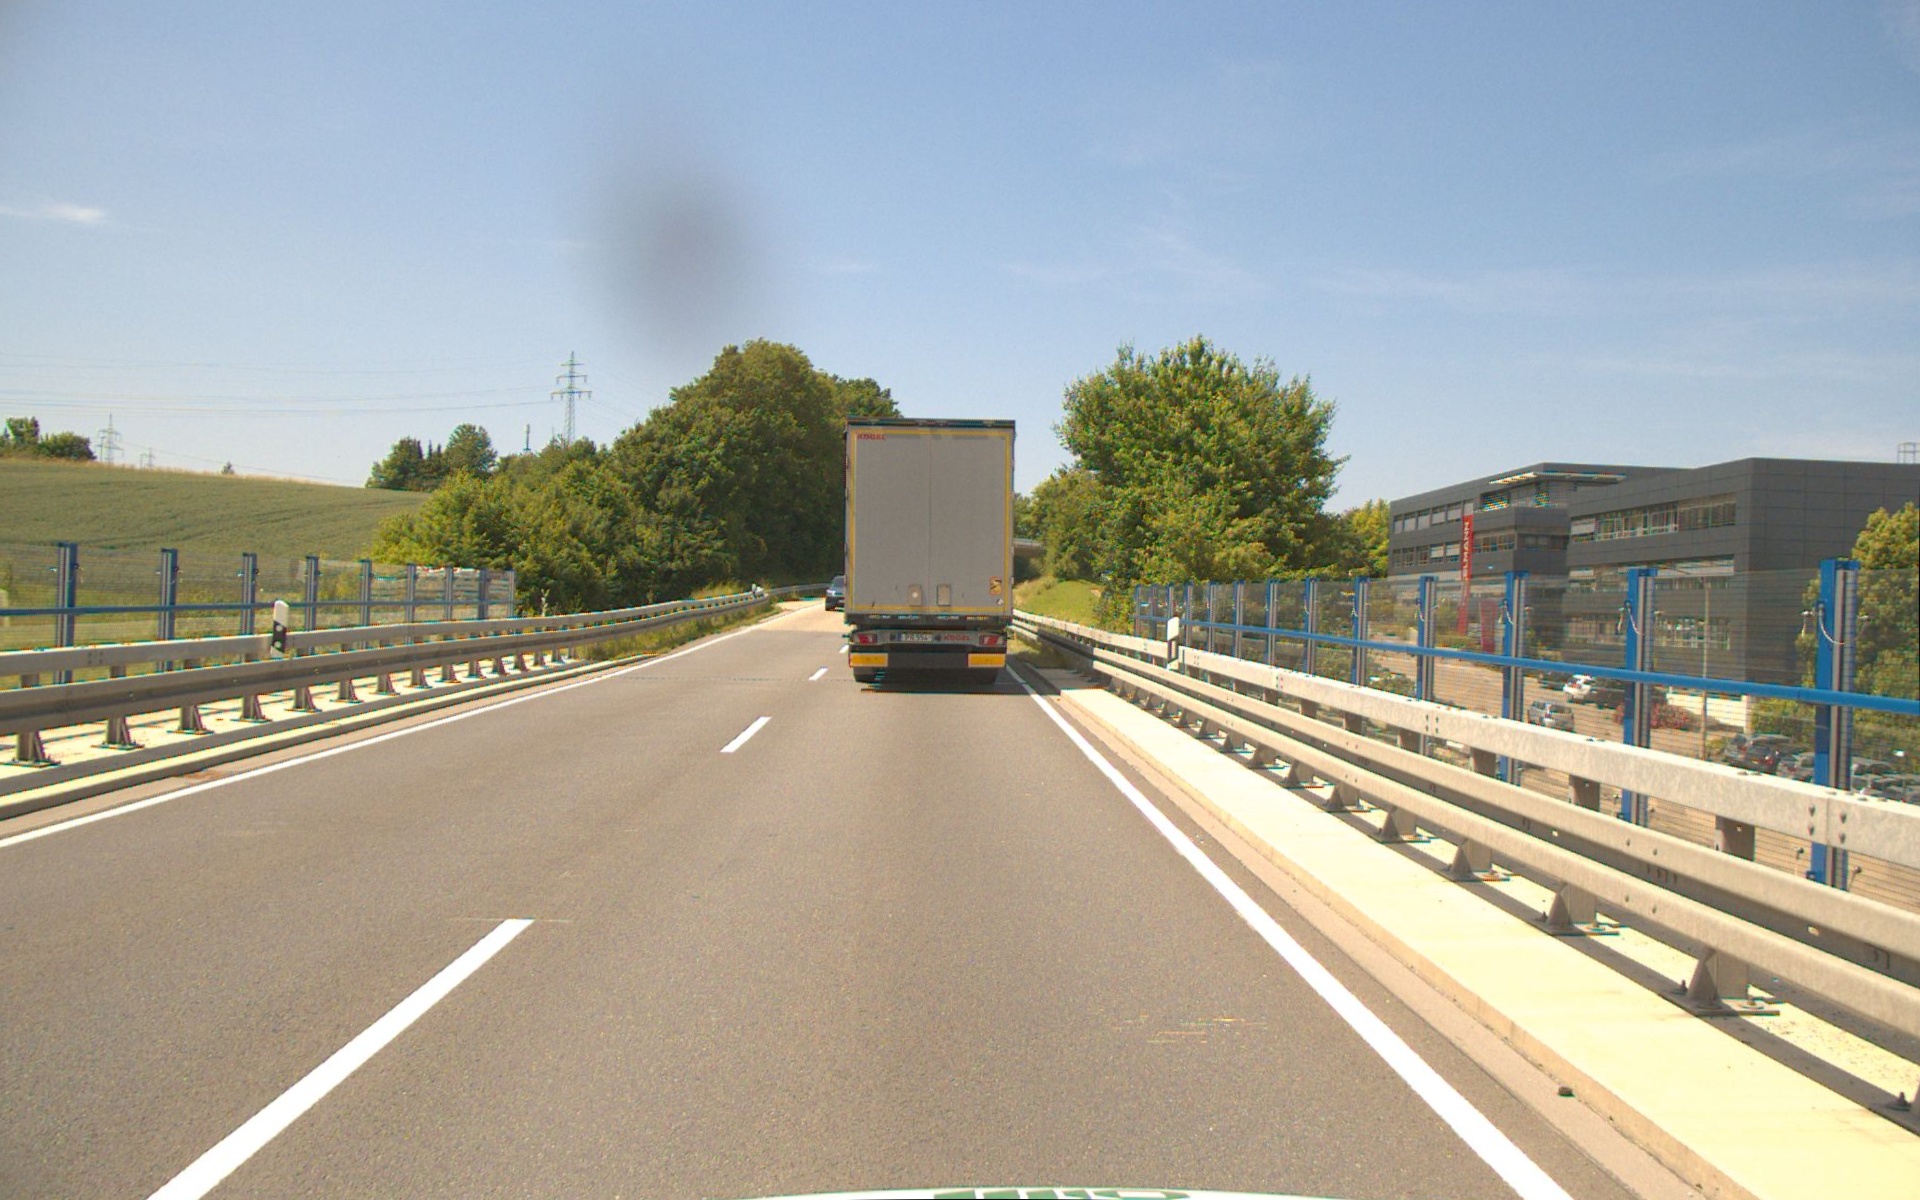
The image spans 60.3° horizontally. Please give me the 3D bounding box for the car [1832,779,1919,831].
[{"bbox_3d":[35.637,7.785,62.842,3.956,1.599,1.912,1,3,-2],"label":"car"}]

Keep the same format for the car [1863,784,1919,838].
[{"bbox_3d":[35.668,7.767,60.697,3.956,1.599,1.912,1,3,-2],"label":"car"}]

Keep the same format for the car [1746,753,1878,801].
[{"bbox_3d":[35.209,7.297,68.390,4.479,1.599,1.821,1,3,-2],"label":"car"}]

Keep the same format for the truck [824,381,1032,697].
[{"bbox_3d":[-0.575,-0.998,28.986,2.808,4.434,9.787,3,1,-1],"label":"truck"}]

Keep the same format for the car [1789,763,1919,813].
[{"bbox_3d":[35.599,7.438,65.619,4.479,1.599,1.821,1,3,-2],"label":"car"}]

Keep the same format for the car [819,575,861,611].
[{"bbox_3d":[-5.695,-0.350,78.606,1.828,1.639,4.370,2,0,-3],"label":"car"}]
